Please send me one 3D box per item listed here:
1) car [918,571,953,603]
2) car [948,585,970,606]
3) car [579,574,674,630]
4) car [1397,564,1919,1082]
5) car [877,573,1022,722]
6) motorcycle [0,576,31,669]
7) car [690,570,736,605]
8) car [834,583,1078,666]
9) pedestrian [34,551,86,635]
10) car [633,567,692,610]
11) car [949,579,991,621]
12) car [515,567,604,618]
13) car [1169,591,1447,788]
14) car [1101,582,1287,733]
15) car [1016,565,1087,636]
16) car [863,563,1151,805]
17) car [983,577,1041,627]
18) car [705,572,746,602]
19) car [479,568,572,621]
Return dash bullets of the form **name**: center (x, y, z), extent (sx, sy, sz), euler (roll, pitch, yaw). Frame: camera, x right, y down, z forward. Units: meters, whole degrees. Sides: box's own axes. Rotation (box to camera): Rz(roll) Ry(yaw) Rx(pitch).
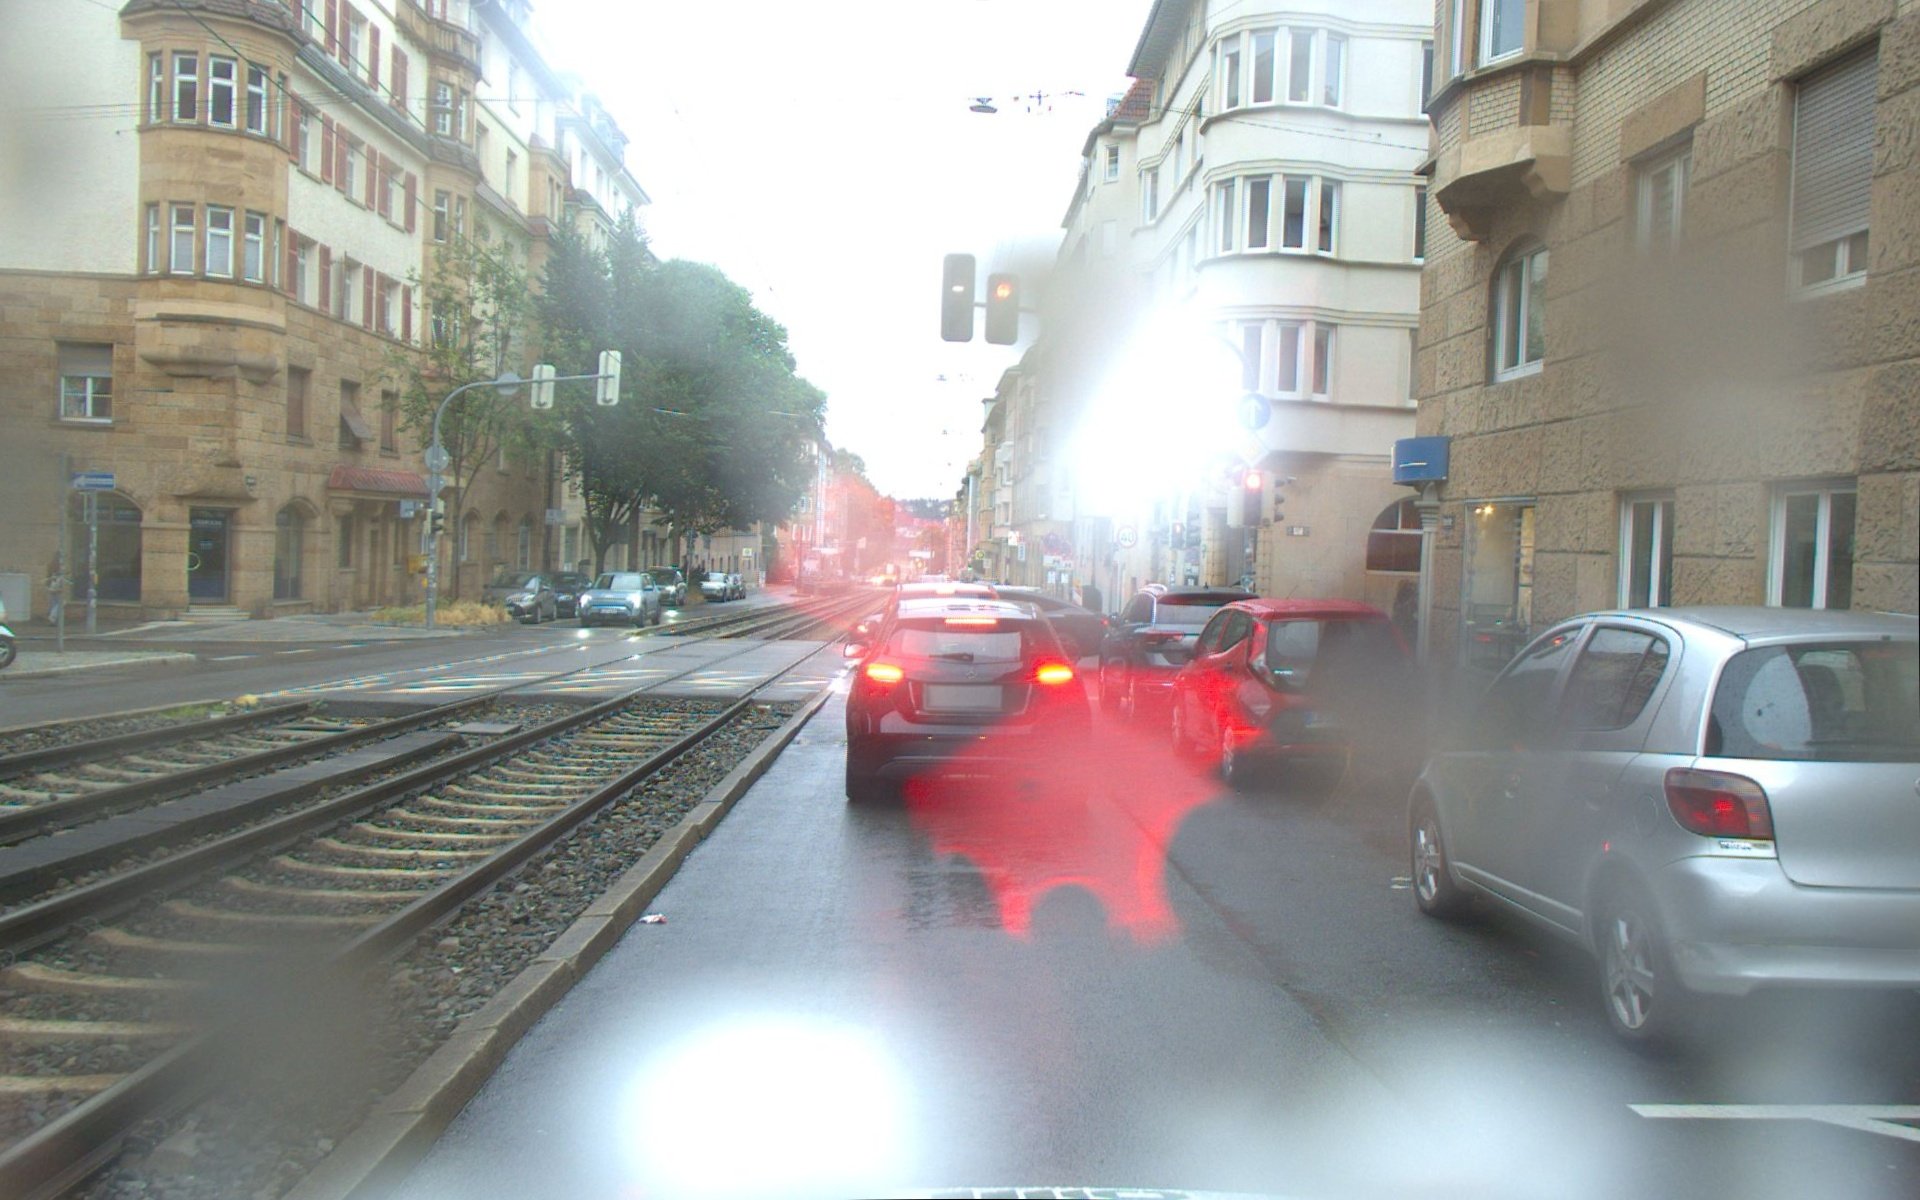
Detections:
- **car**: center (-1.369, -0.741, 93.915), extent (1.882, 1.684, 4.000), euler (2, 0, 0)
- **car**: center (-0.088, -0.437, 145.630), extent (1.870, 1.735, 3.999), euler (2, 0, -1)
- **car**: center (-9.914, 0.052, 49.413), extent (1.758, 1.575, 4.002), euler (0, 0, 4)
- **car**: center (3.088, 0.695, 6.835), extent (1.604, 1.569, 3.465), euler (2, 0, 0)
- **car**: center (-0.138, 0.494, 19.732), extent (1.504, 1.536, 3.999), euler (2, 0, -1)
- **motorcycle**: center (-12.470, 0.259, 20.860), extent (1.409, 1.154, 0.619), euler (2, 0, 29)
- **car**: center (-13.807, -0.697, 92.618), extent (1.953, 1.825, 3.999), euler (2, 0, -1)
- **car**: center (-0.116, 0.427, 30.137), extent (4.186, 1.310, 1.996), euler (2, 0, -9)
- **pedestrian**: center (-19.482, -0.154, 35.802), extent (0.595, 1.763, 0.865), euler (2, 0, 0)
- **car**: center (-13.470, -0.538, 75.159), extent (1.953, 1.825, 3.999), euler (2, 0, -1)
- **car**: center (0.438, 0.023, 74.619), extent (1.815, 1.829, 3.811), euler (1, -1, -1)
- **car**: center (-13.142, -0.247, 54.501), extent (1.953, 1.544, 3.999), euler (2, 0, -1)
- **car**: center (2.849, 0.677, 14.166), extent (1.570, 1.444, 3.147), euler (2, 0, -3)
- **car**: center (2.635, 0.593, 19.444), extent (1.518, 1.534, 3.999), euler (2, 0, -1)
- **car**: center (2.771, 0.052, 50.778), extent (1.860, 2.063, 4.175), euler (1, -1, -1)
- **car**: center (0.250, 0.576, 12.895), extent (1.907, 1.592, 3.641), euler (1, 0, -2)
- **car**: center (1.943, 0.103, 63.105), extent (1.734, 1.807, 3.996), euler (1, -1, -5)
- **car**: center (-14.272, -0.793, 100.671), extent (1.893, 1.758, 4.185), euler (2, 0, -1)
- **car**: center (-12.850, -0.161, 49.114), extent (1.735, 1.489, 3.999), euler (1, 0, -1)
